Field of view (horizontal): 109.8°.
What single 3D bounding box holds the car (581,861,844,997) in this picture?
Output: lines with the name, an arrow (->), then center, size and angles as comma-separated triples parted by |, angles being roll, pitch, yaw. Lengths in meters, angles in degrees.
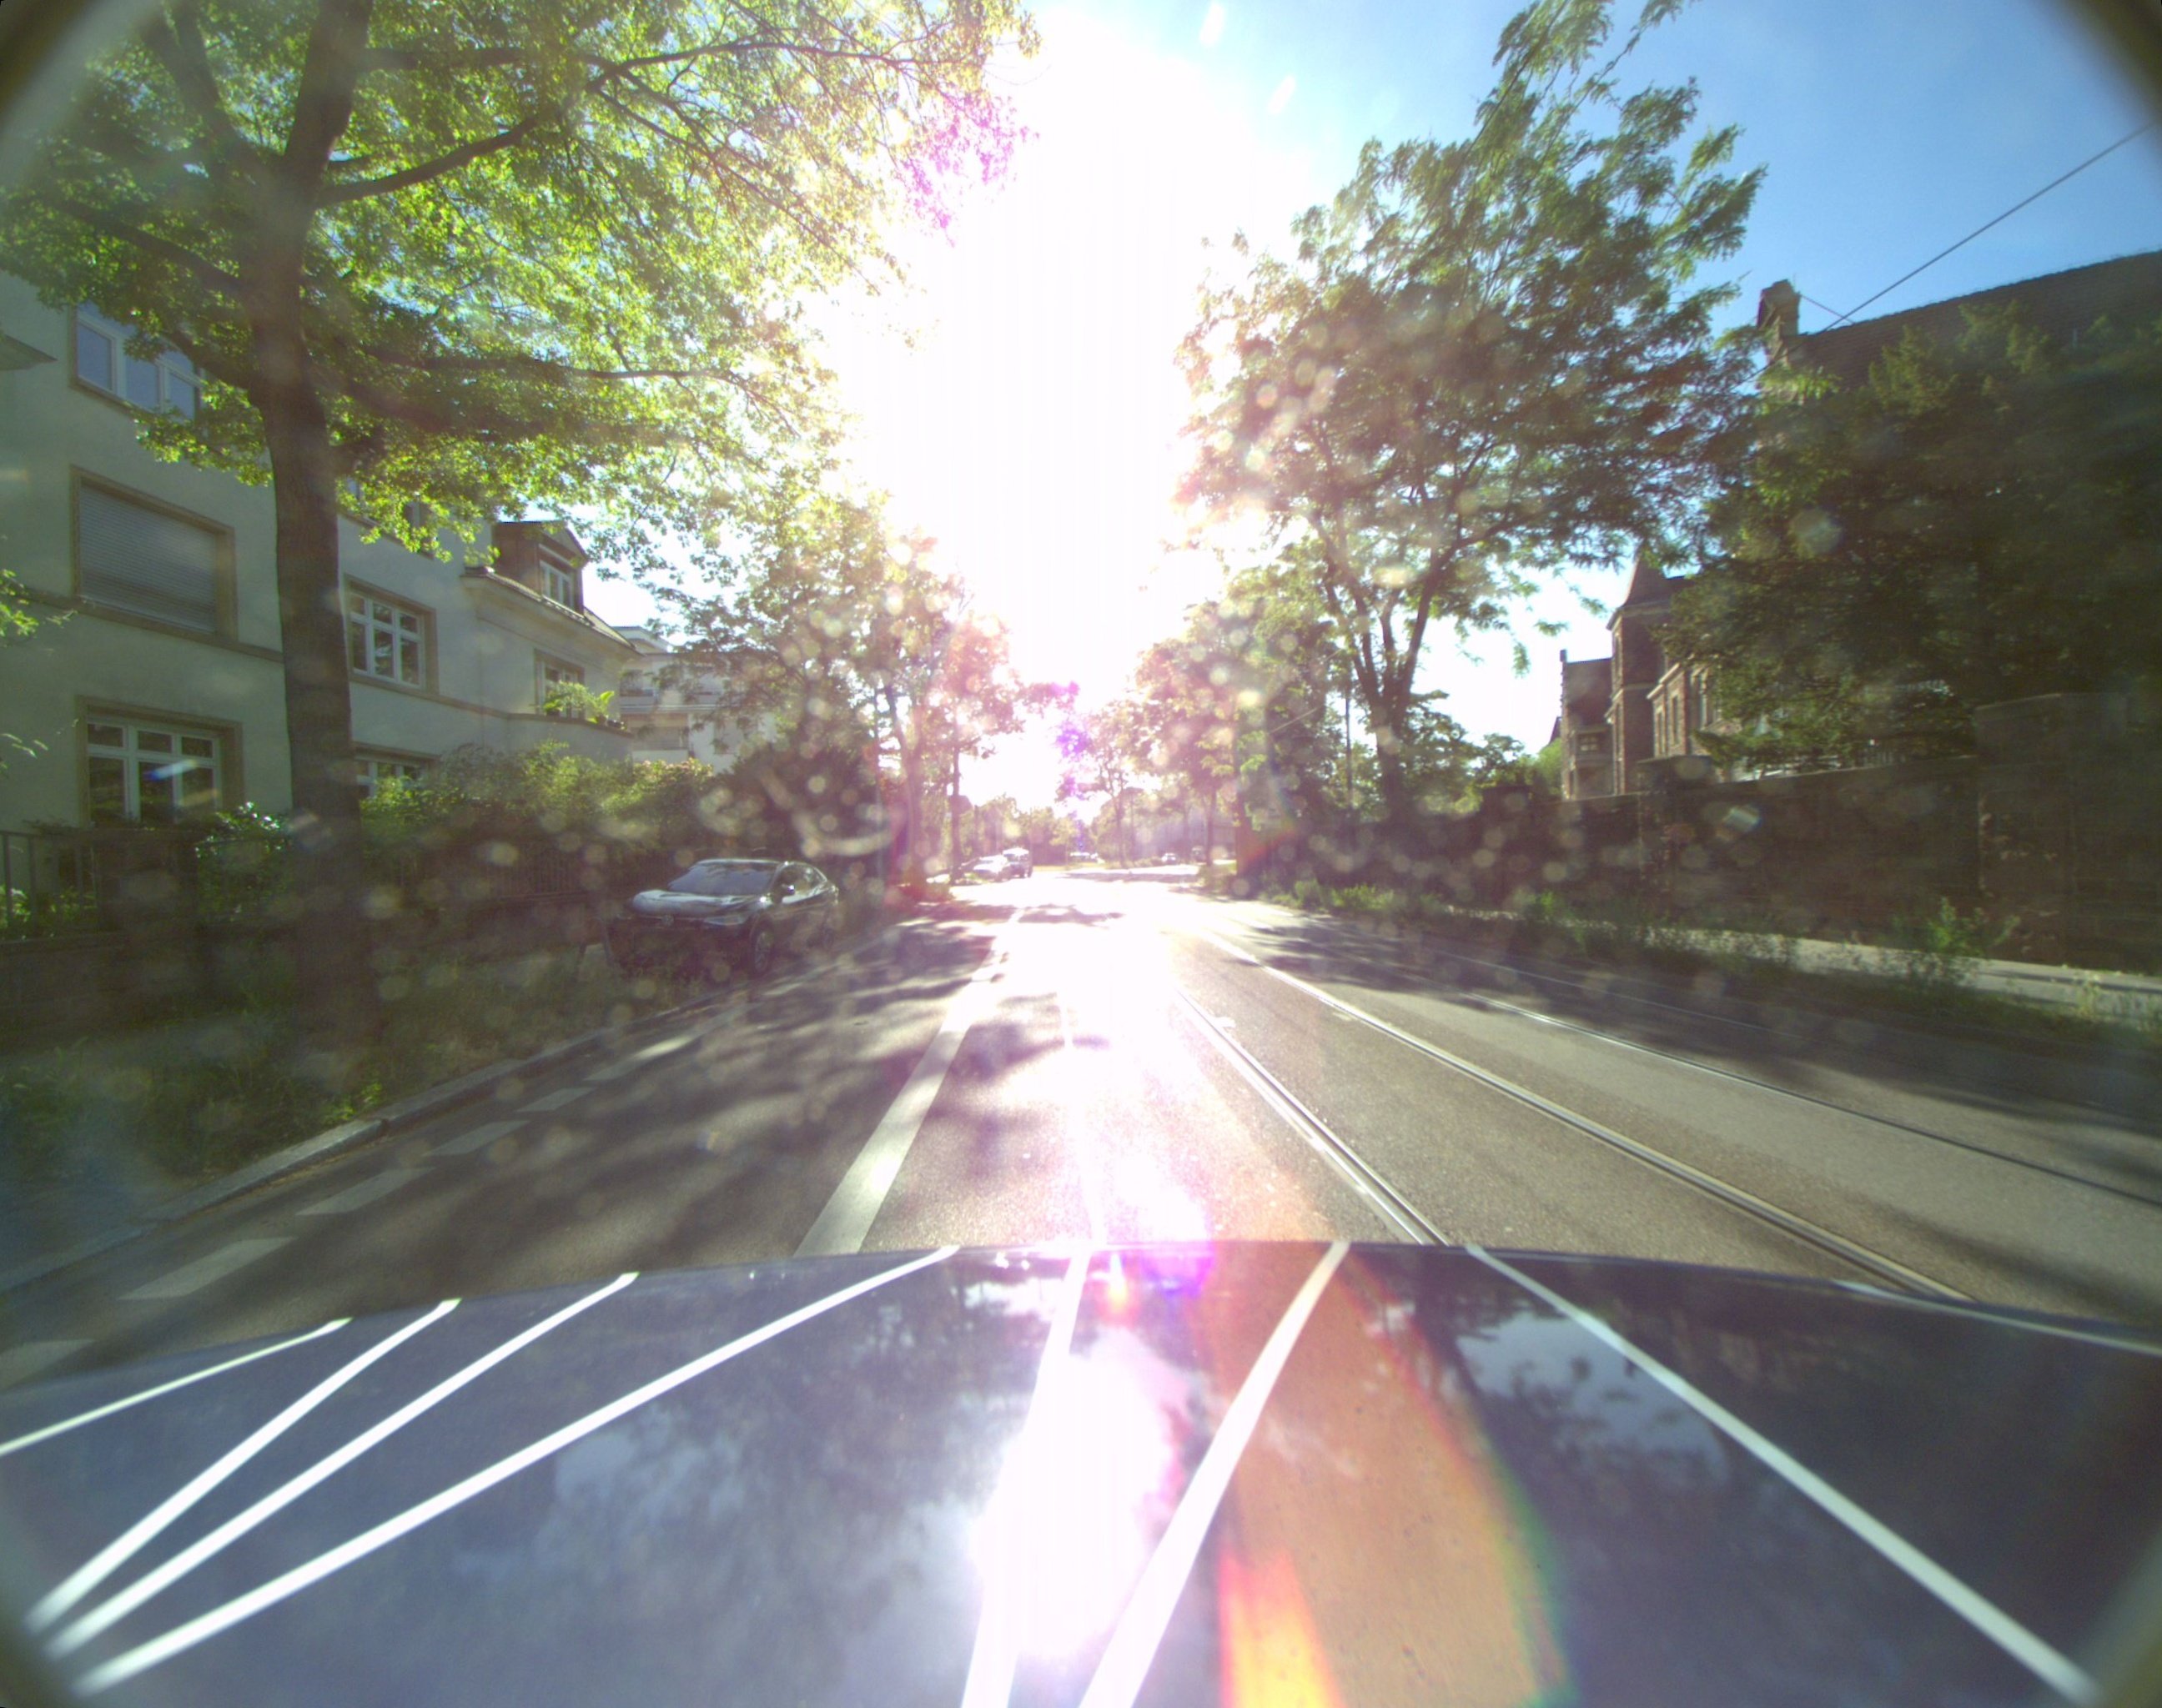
car -> -5.204, 0.948, 11.505 | 1.919, 1.590, 4.258 | 2, 0, -1

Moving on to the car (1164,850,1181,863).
car -> 11.905, 0.314, 98.719 | 1.997, 1.539, 4.002 | -2, 0, 8

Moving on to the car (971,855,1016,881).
car -> -5.172, 0.794, 45.331 | 1.901, 1.402, 4.260 | -1, 0, 4

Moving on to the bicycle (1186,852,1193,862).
bicycle -> 13.748, 0.381, 96.279 | 0.588, 1.105, 1.857 | -1, 0, 19

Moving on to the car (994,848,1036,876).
car -> -4.410, 0.506, 51.687 | 1.900, 1.775, 4.670 | -1, 0, 6

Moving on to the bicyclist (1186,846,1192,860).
bicyclist -> 13.706, -0.123, 96.223 | 0.643, 1.632, 0.666 | -2, 1, 19

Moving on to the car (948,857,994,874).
car -> -10.051, 1.046, 69.536 | 3.998, 1.433, 1.813 | -2, 0, -3

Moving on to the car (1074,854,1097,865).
car -> 0.741, 0.917, 128.787 | 3.908, 1.683, 1.905 | -2, 0, -1
